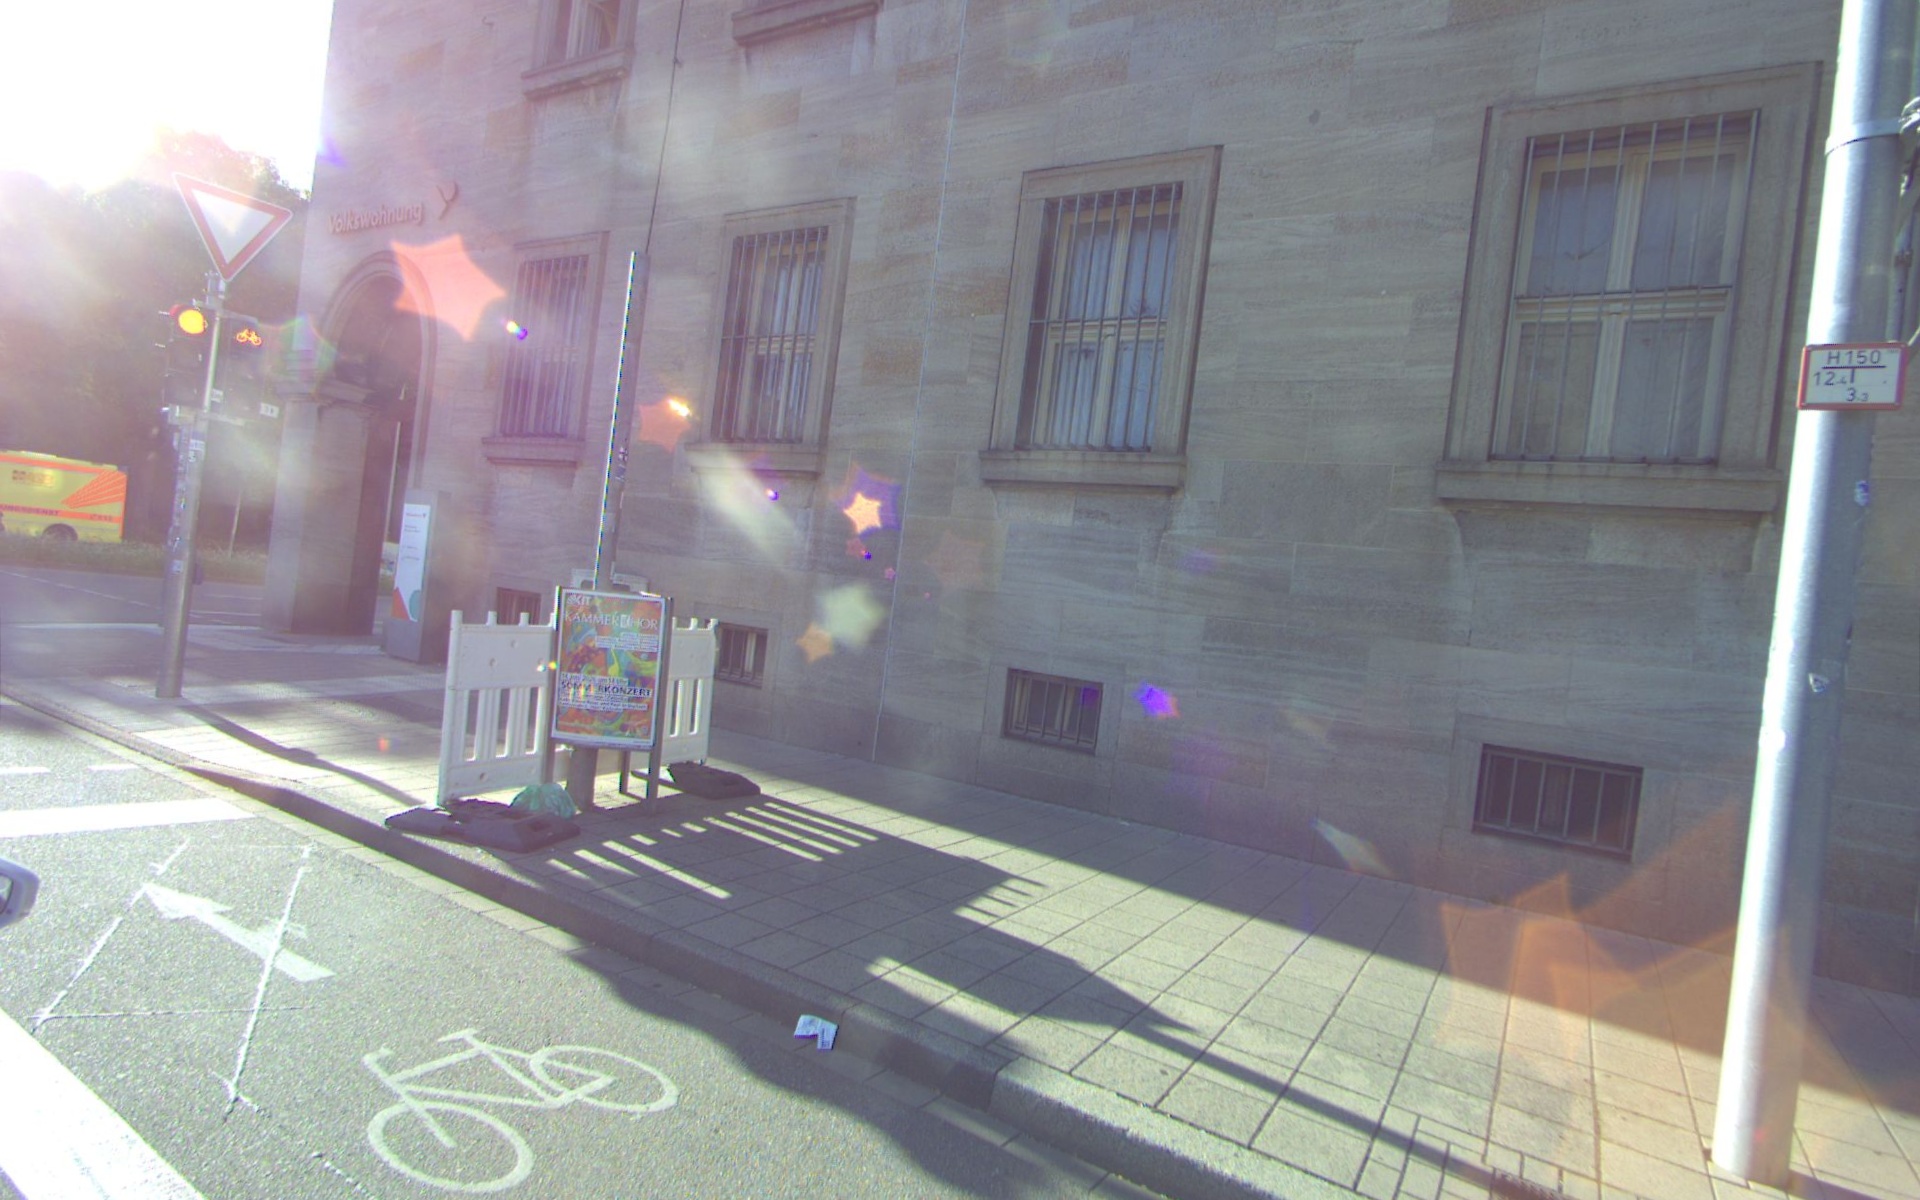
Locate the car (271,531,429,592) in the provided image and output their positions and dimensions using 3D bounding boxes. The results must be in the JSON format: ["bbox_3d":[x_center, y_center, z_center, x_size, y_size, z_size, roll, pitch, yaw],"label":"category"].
[{"bbox_3d":[-19.770,-1.210,32.770,1.604,1.451,4.049,6,-1,30],"label":"car"}]

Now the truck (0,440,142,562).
[{"bbox_3d":[-28.109,-3.094,28.902,2.682,3.052,6.473,7,-1,35],"label":"truck"}]
